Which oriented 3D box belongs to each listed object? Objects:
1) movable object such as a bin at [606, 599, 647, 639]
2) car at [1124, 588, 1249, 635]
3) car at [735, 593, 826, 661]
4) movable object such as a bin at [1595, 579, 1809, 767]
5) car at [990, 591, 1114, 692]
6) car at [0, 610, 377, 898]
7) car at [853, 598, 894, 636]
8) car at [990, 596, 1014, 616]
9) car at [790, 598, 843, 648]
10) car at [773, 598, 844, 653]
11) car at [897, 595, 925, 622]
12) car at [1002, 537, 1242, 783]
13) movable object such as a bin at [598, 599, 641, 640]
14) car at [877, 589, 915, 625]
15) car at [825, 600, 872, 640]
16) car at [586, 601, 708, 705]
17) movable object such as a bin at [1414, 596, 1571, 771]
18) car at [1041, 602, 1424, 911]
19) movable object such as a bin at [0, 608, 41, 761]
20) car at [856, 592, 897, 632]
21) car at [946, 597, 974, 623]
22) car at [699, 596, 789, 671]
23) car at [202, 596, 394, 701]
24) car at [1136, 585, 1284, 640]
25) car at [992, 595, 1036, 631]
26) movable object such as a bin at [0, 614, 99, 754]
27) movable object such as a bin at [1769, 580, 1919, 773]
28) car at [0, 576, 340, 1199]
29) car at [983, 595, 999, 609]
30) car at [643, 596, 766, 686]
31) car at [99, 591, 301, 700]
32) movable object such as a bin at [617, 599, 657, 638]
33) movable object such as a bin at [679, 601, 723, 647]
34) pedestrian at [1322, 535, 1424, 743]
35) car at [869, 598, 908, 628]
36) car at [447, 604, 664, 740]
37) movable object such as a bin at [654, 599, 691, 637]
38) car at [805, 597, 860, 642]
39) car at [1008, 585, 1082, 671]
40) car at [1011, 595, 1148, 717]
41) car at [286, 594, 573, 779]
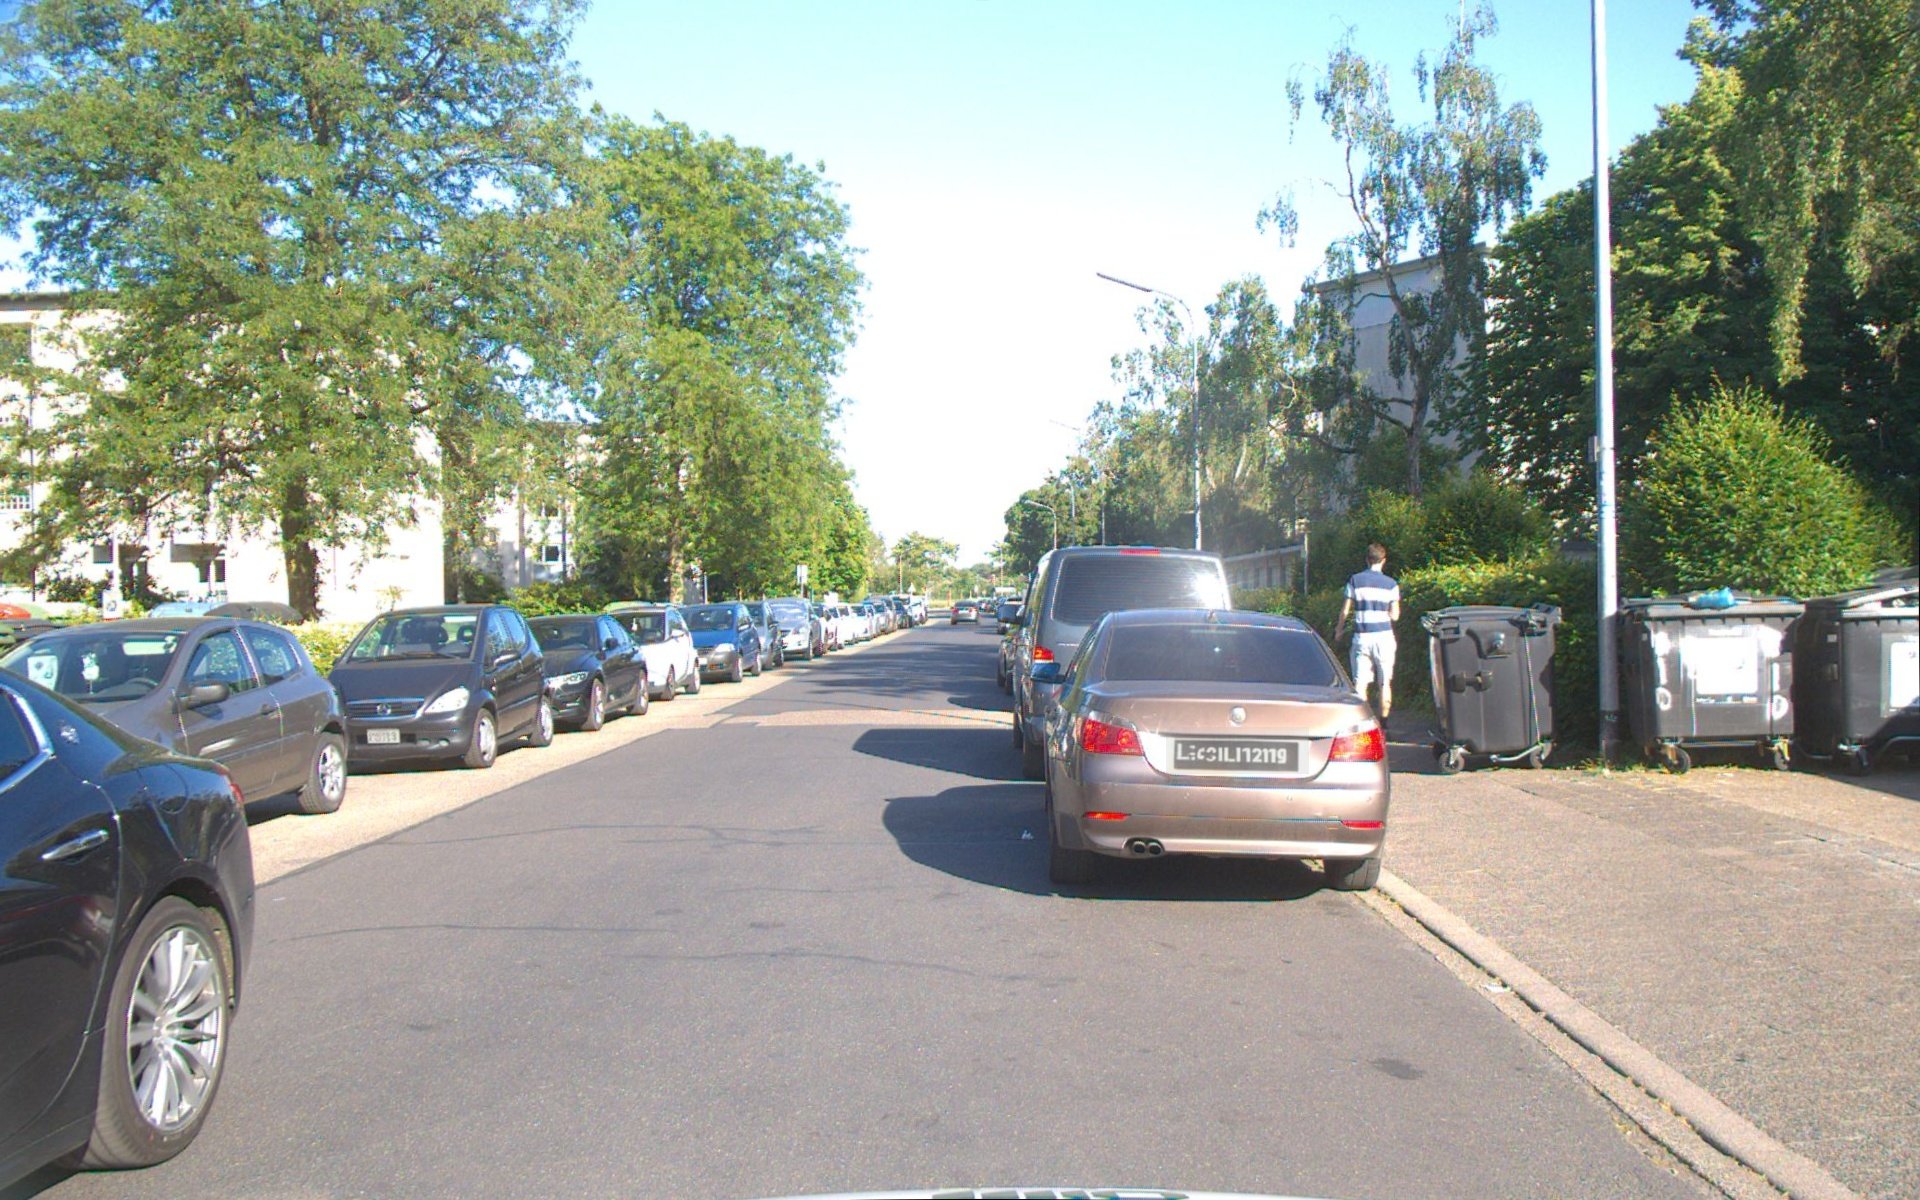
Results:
[{"bbox_3d":[-12.594,0.702,62.577,1.153,1.445,1.463,2,0,3],"label":"movable object such as a bin"},{"bbox_3d":[8.281,0.418,60.808,4.324,1.540,1.829,-2,0,1],"label":"car"},{"bbox_3d":[-4.770,0.696,44.512,1.864,1.668,4.349,-2,0,1],"label":"car"},{"bbox_3d":[5.785,0.552,12.985,1.198,1.389,1.133,-1,0,4],"label":"movable object such as a bin"},{"bbox_3d":[1.489,0.648,28.142,1.697,1.516,4.500,-2,0,-2],"label":"car"},{"bbox_3d":[-5.546,0.886,11.003,1.718,1.506,3.960,-3,0,2],"label":"car"},{"bbox_3d":[-4.027,0.762,77.631,1.675,1.628,3.985,-3,0,-1],"label":"car"},{"bbox_3d":[3.469,0.510,136.175,1.759,1.589,3.950,0,0,-1],"label":"car"},{"bbox_3d":[-4.765,0.745,54.819,1.630,1.539,3.534,-2,0,-5],"label":"car"},{"bbox_3d":[-4.570,0.731,50.337,1.628,1.539,3.946,-2,0,2],"label":"car"},{"bbox_3d":[-3.344,0.582,113.033,1.710,1.762,4.006,-2,0,1],"label":"car"},{"bbox_3d":[1.362,0.478,15.636,1.814,1.968,4.704,0,0,0],"label":"car"},{"bbox_3d":[-12.486,0.699,60.720,1.153,1.445,1.463,2,0,3],"label":"movable object such as a bin"},{"bbox_3d":[-3.809,0.415,99.225,1.875,1.997,5.088,-2,0,1],"label":"car"},{"bbox_3d":[-4.498,0.788,67.081,1.652,1.532,3.817,-2,0,-1],"label":"car"},{"bbox_3d":[-5.313,0.853,28.373,1.415,1.601,3.142,-3,0,0],"label":"car"},{"bbox_3d":[4.446,0.670,13.921,1.004,1.332,1.388,-4,0,11],"label":"movable object such as a bin"},{"bbox_3d":[1.399,0.740,10.140,1.763,1.443,4.637,0,0,2],"label":"car"},{"bbox_3d":[-9.626,0.804,15.578,1.153,1.432,1.343,0,0,1],"label":"movable object such as a bin"},{"bbox_3d":[-4.219,0.578,84.054,1.817,1.925,4.417,-2,0,-1],"label":"car"},{"bbox_3d":[-0.021,0.614,101.996,1.645,1.540,4.103,1,0,-2],"label":"car"},{"bbox_3d":[-5.045,0.746,39.010,1.602,1.634,3.535,-2,0,0],"label":"car"},{"bbox_3d":[-10.513,0.718,26.552,1.538,1.552,3.999,0,0,-1],"label":"car"},{"bbox_3d":[7.904,0.391,52.563,4.420,1.540,1.829,-2,0,2],"label":"car"},{"bbox_3d":[2.368,0.555,73.902,1.718,1.540,4.103,1,0,-2],"label":"car"},{"bbox_3d":[-9.794,0.834,17.004,1.153,1.363,1.343,0,0,2],"label":"movable object such as a bin"},{"bbox_3d":[7.041,0.549,12.577,1.249,1.389,1.133,-1,0,4],"label":"movable object such as a bin"},{"bbox_3d":[-2.934,0.730,2.933,1.871,1.502,4.571,-2,0,0],"label":"car"},{"bbox_3d":[3.587,0.260,191.552,1.759,1.576,3.950,0,0,-1],"label":"car"},{"bbox_3d":[-5.157,0.794,33.879,1.718,1.634,3.969,-3,0,2],"label":"car"},{"bbox_3d":[-12.411,0.690,27.283,1.538,1.669,3.999,0,0,-1],"label":"car"},{"bbox_3d":[-12.506,0.709,64.096,1.153,1.445,1.463,2,0,3],"label":"movable object such as a bin"},{"bbox_3d":[-8.313,0.759,53.187,1.112,1.407,1.442,2,0,2],"label":"movable object such as a bin"},{"bbox_3d":[3.987,0.371,16.008,0.688,1.921,0.872,-3,0,2],"label":"pedestrian"},{"bbox_3d":[-3.982,0.719,92.887,1.710,1.560,4.140,-2,0,3],"label":"car"},{"bbox_3d":[-5.252,0.866,22.071,1.718,1.506,4.537,-3,0,0],"label":"car"},{"bbox_3d":[-11.231,0.708,64.659,1.111,1.445,1.361,2,0,2],"label":"movable object such as a bin"},{"bbox_3d":[-4.690,0.711,61.329,1.652,1.561,3.891,-2,0,0],"label":"car"},{"bbox_3d":[1.792,0.578,35.330,1.458,1.748,2.583,0,0,0],"label":"car"},{"bbox_3d":[1.557,0.696,22.717,1.589,1.516,4.036,0,0,0],"label":"car"},{"bbox_3d":[-5.327,0.795,17.110,1.719,1.601,3.719,-3,0,-1],"label":"car"}]
